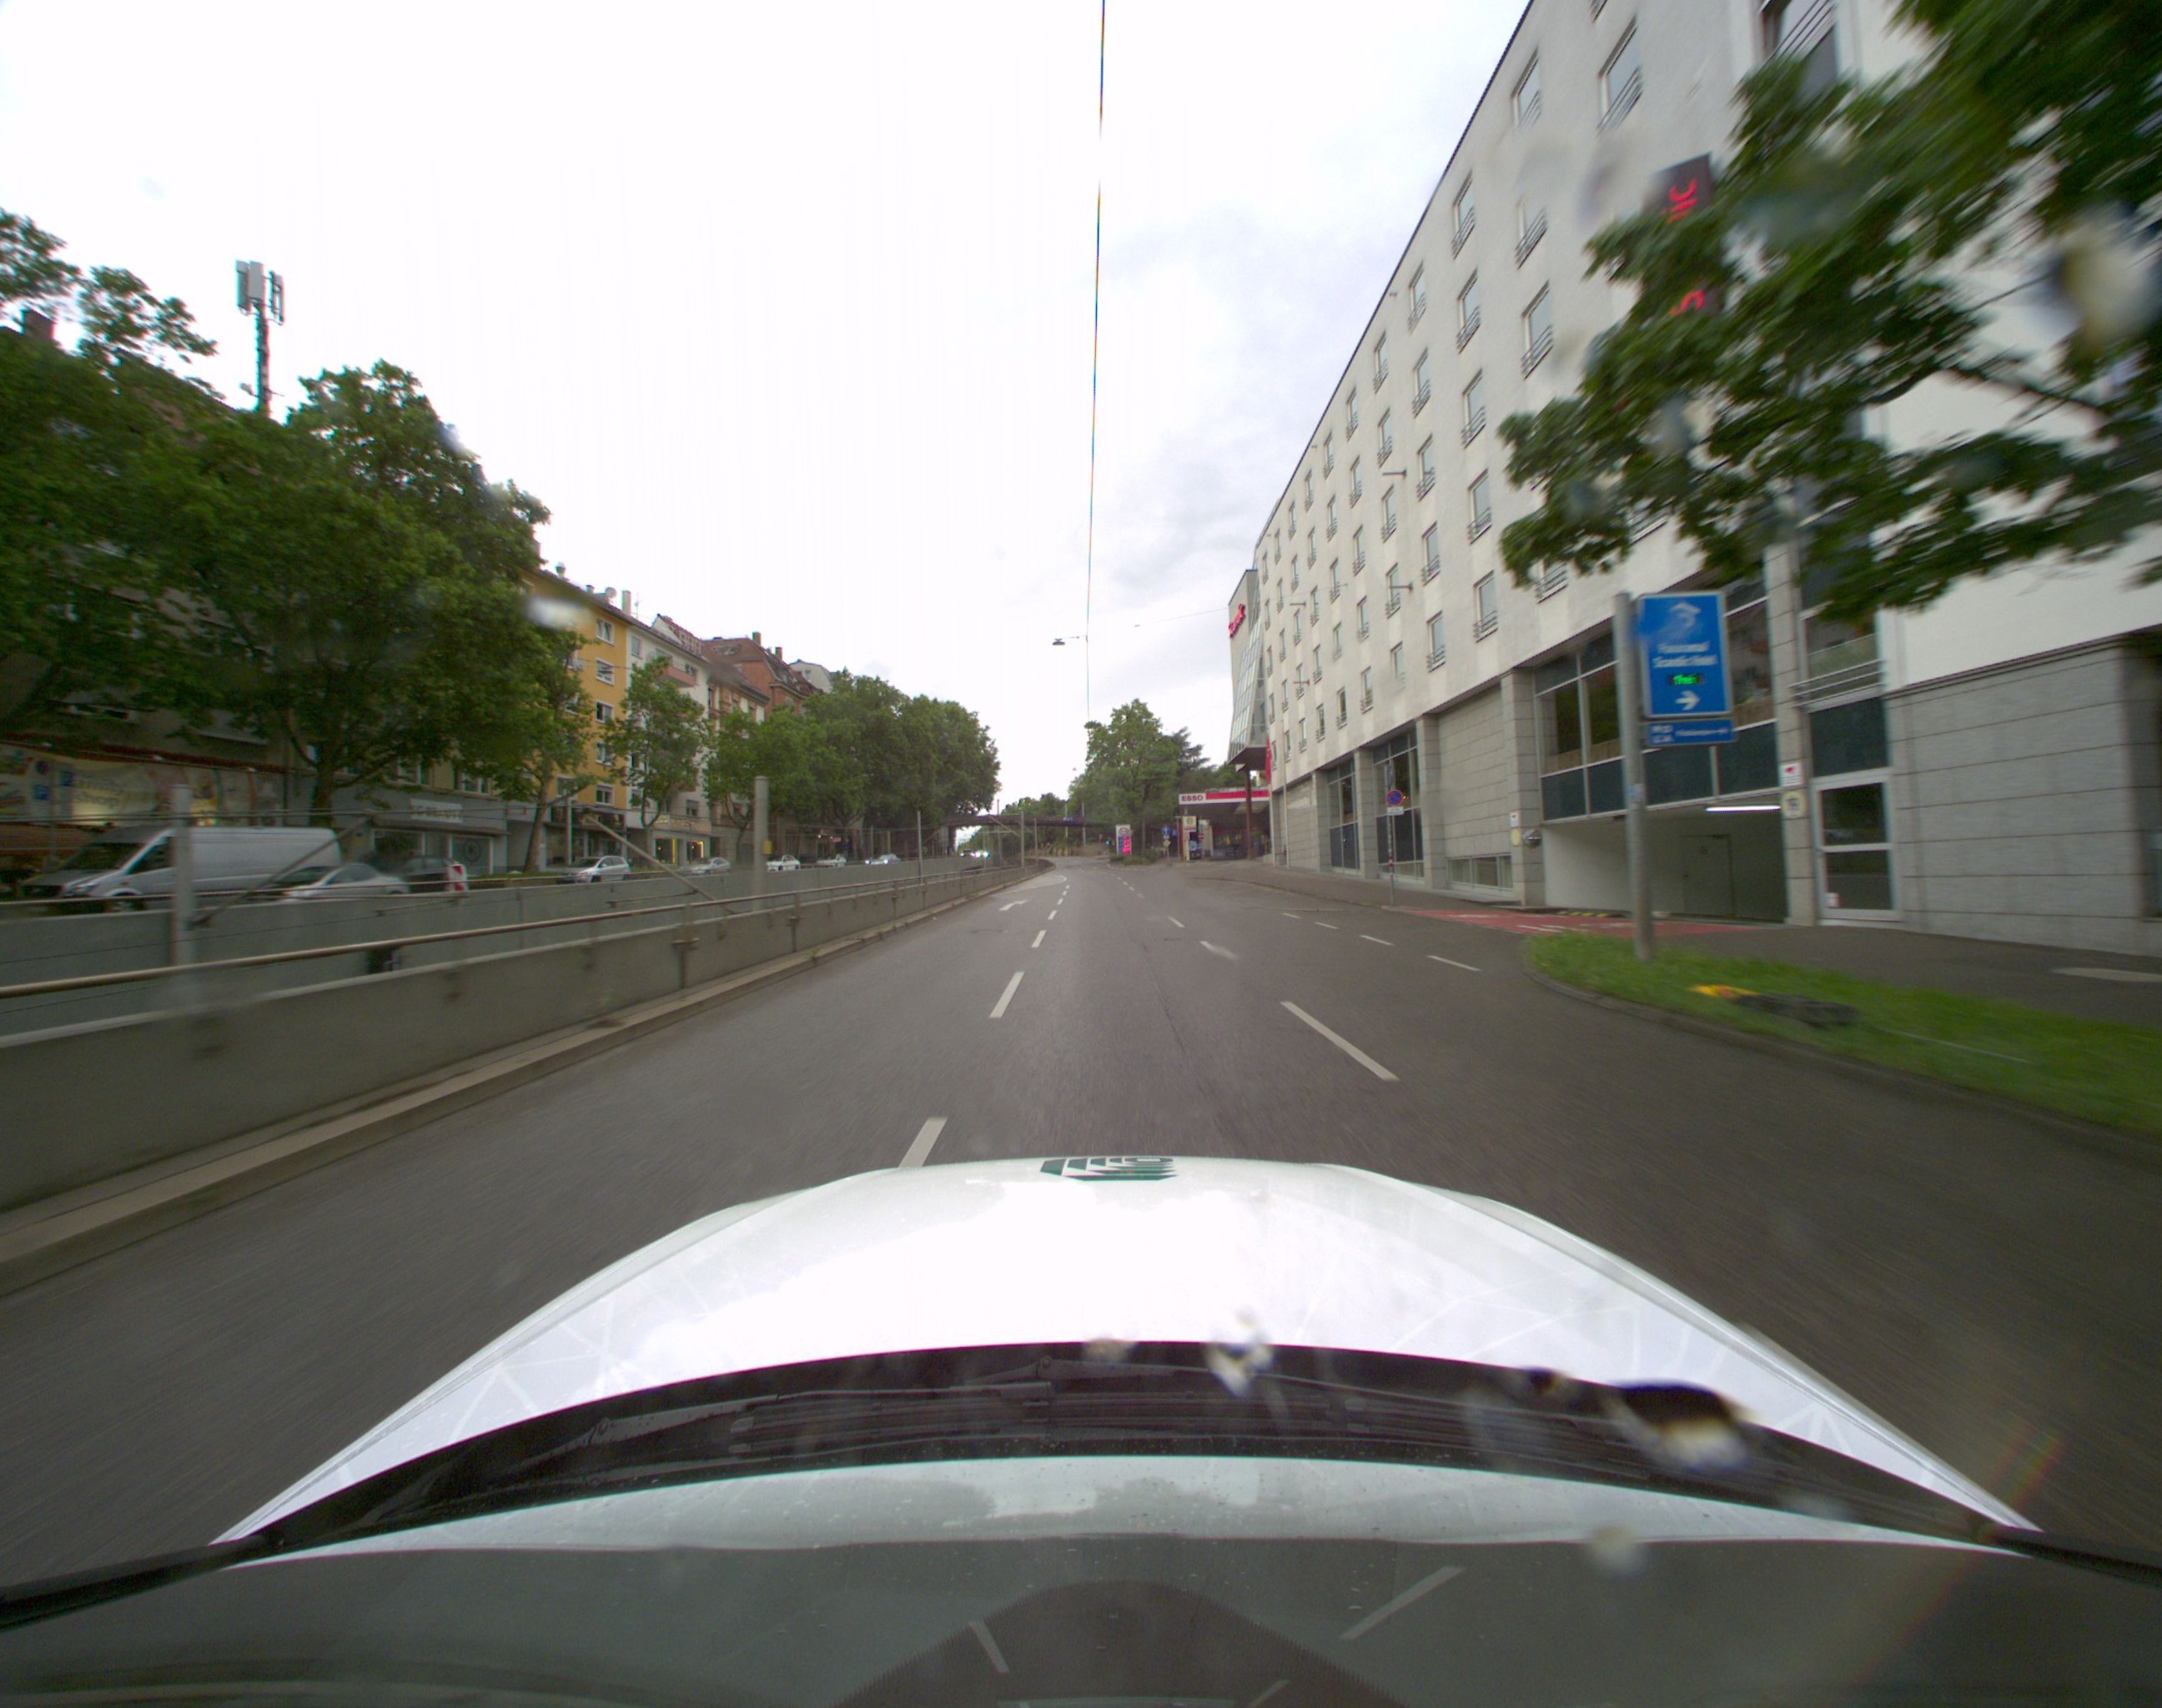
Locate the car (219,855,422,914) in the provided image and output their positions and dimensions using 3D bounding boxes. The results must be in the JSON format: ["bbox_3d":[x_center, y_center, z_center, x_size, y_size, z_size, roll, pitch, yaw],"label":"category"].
[{"bbox_3d":[-21.516,0.812,23.289,1.838,1.510,4.022,0,0,4],"label":"car"}]

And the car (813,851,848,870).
[{"bbox_3d":[-22.555,0.583,73.451,1.788,1.611,4.113,0,0,1],"label":"car"}]

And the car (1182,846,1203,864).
[{"bbox_3d":[10.985,0.077,80.094,1.761,1.623,3.877,-4,-1,10],"label":"car"}]

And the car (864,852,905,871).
[{"bbox_3d":[-16.289,0.614,67.743,2.018,1.510,4.886,0,0,3],"label":"car"}]

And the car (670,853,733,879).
[{"bbox_3d":[-23.874,0.724,51.390,1.787,1.510,4.210,0,0,3],"label":"car"}]

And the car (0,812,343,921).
[{"bbox_3d":[-25.612,0.294,23.301,2.443,2.662,6.935,0,0,2],"label":"car"}]

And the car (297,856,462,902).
[{"bbox_3d":[-25.146,0.830,29.471,1.787,1.510,4.674,0,0,2],"label":"car"}]

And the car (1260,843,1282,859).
[{"bbox_3d":[19.326,-0.264,82.928,1.784,1.510,4.008,0,-1,7],"label":"car"}]

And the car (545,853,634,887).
[{"bbox_3d":[-24.718,0.770,41.119,1.787,1.571,4.210,0,0,3],"label":"car"}]

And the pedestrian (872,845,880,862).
[{"bbox_3d":[-24.067,-0.032,95.697,0.666,2.014,0.936,0,-1,4],"label":"pedestrian"}]

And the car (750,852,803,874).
[{"bbox_3d":[-23.253,0.640,62.345,1.920,1.601,5.201,0,0,2],"label":"car"}]

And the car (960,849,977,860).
[{"bbox_3d":[-18.966,0.045,137.143,1.948,1.852,4.972,0,0,3],"label":"car"}]
